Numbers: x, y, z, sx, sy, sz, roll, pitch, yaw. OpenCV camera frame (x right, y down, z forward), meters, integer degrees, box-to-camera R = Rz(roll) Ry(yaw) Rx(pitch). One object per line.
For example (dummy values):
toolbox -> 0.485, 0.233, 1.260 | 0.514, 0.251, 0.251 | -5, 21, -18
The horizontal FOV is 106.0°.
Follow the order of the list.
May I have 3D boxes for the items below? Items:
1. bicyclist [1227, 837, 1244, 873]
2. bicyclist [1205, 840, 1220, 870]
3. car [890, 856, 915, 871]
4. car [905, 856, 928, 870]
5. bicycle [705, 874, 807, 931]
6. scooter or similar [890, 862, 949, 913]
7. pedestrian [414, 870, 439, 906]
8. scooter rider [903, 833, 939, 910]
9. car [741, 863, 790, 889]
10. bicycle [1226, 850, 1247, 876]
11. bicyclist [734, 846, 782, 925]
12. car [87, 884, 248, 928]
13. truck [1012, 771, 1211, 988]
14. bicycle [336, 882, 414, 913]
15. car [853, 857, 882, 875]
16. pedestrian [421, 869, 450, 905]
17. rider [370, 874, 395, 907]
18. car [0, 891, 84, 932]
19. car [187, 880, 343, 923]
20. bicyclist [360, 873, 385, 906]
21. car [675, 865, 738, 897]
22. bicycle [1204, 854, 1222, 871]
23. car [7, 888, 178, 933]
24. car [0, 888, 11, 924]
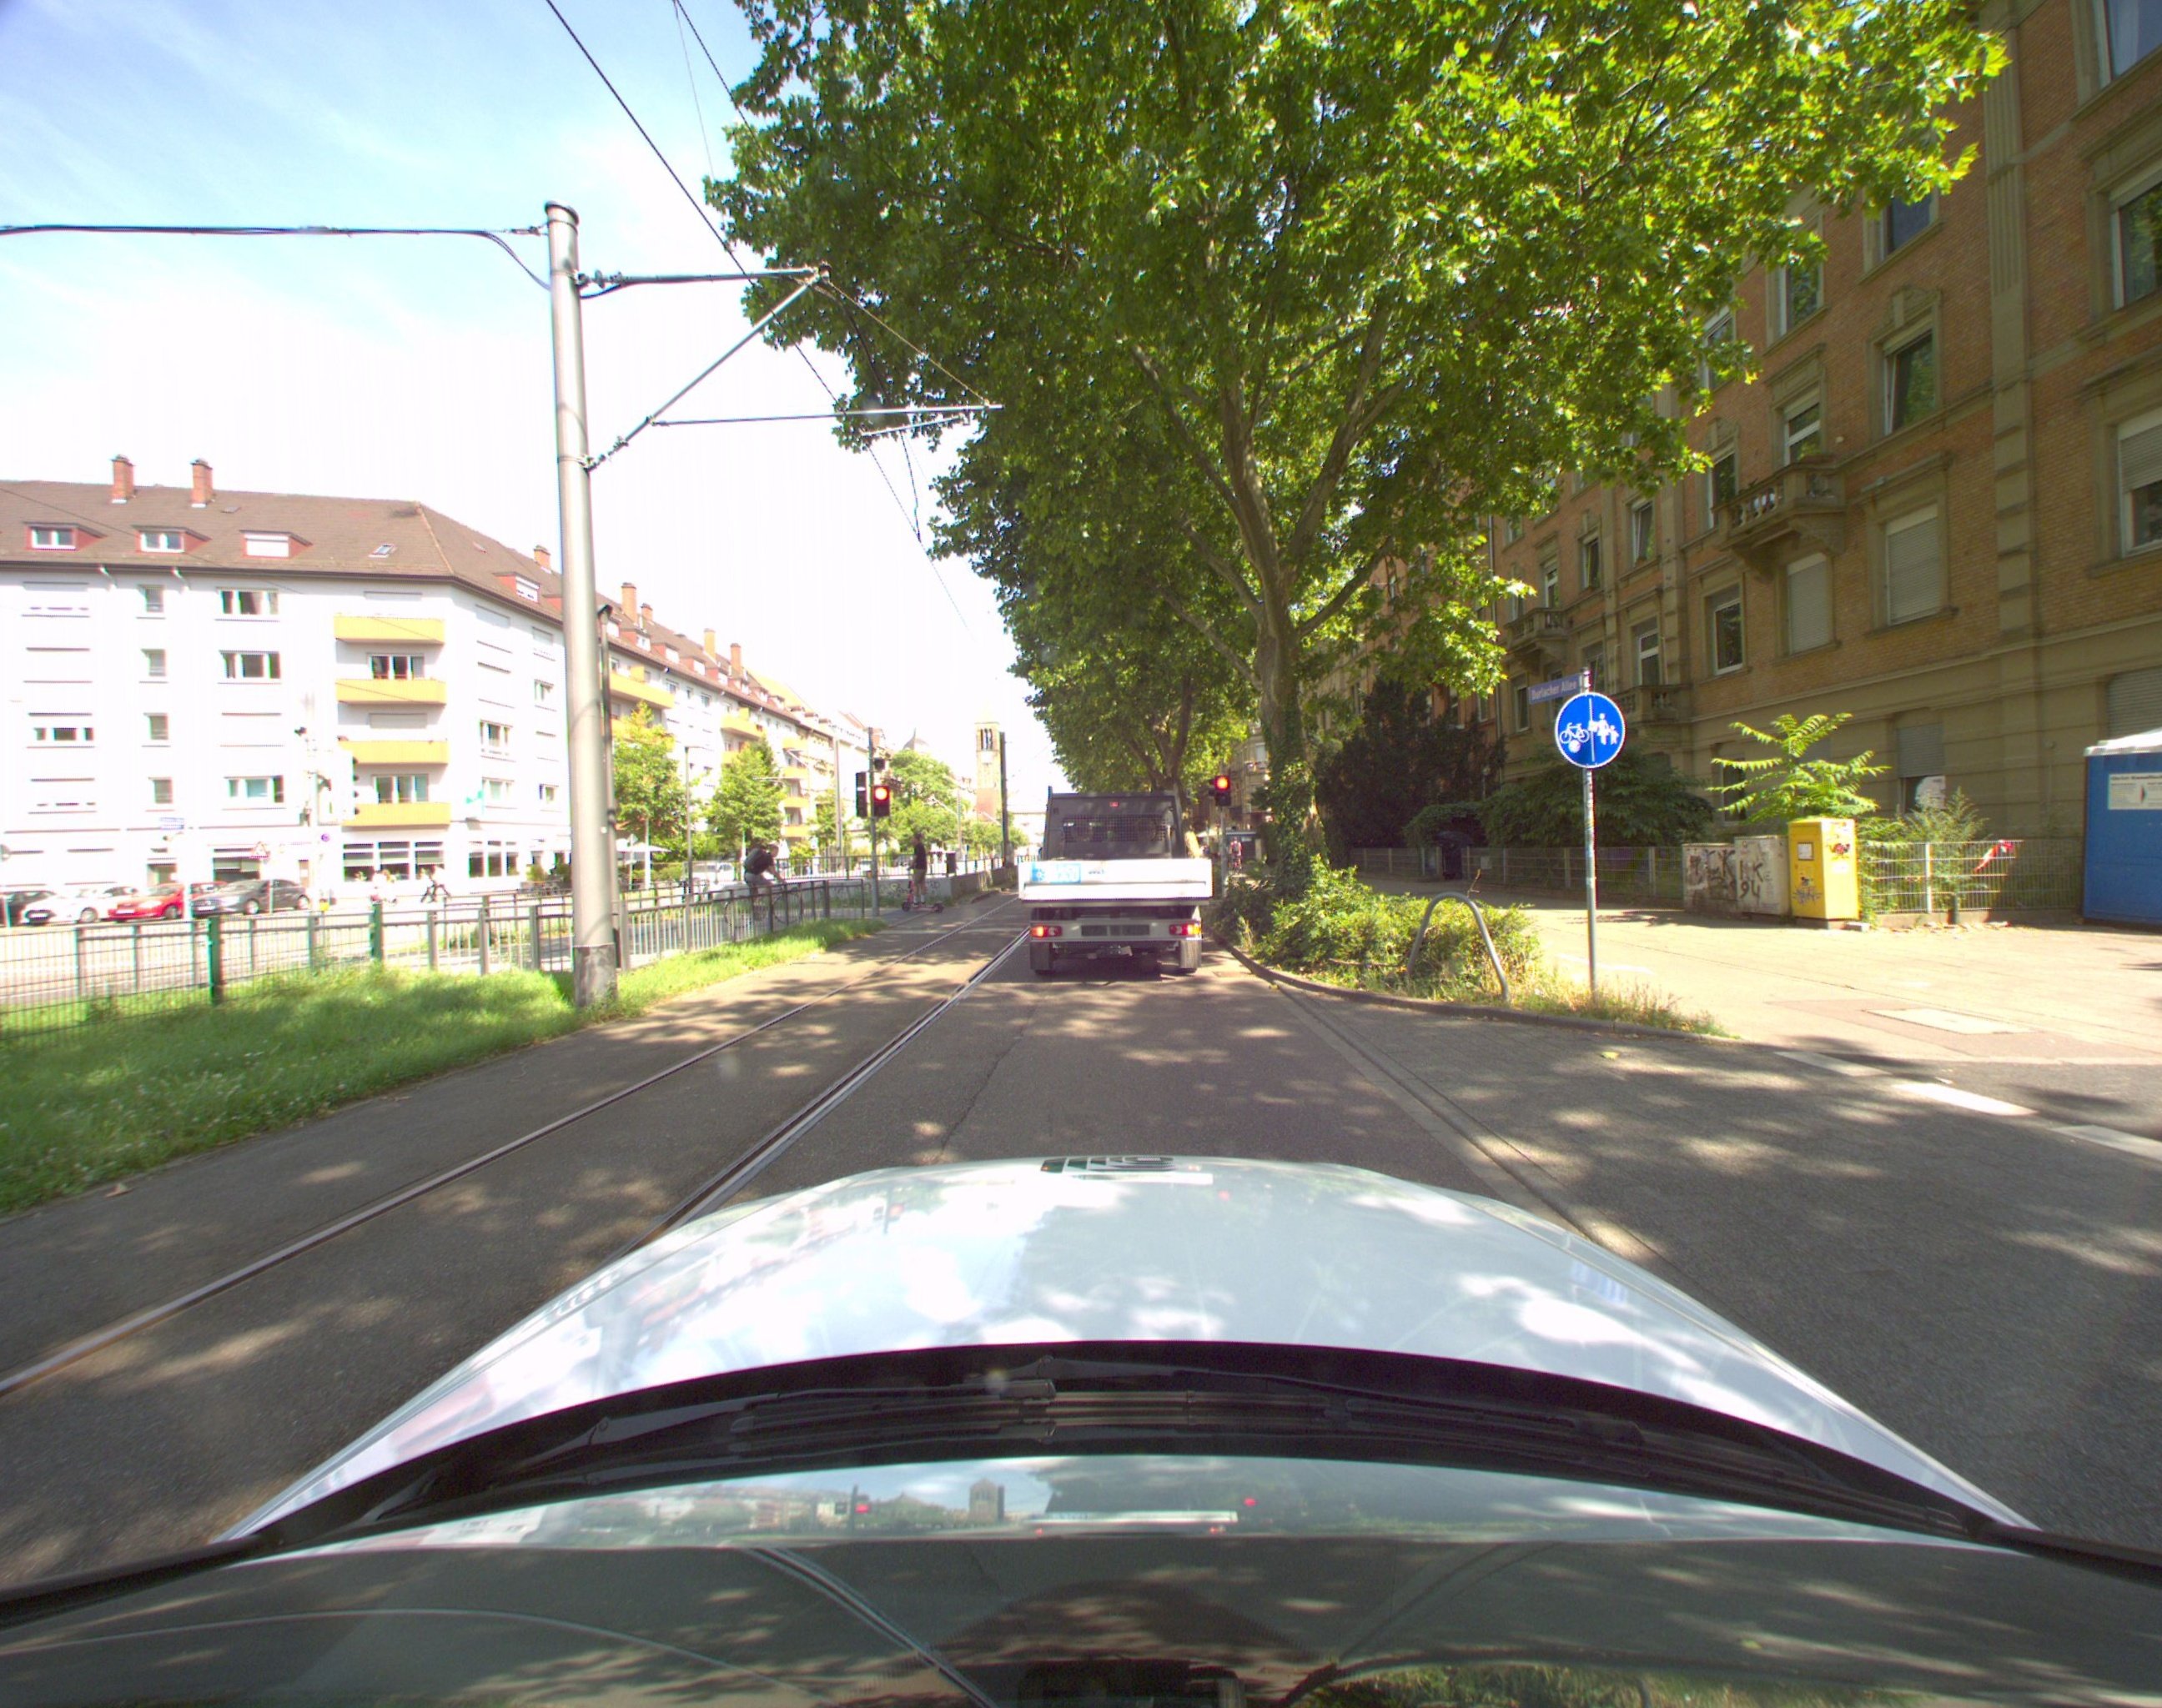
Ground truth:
bicyclist -> 6.929, 0.036, 36.523 | 0.635, 1.573, 0.580 | -2, 0, 3
bicyclist -> 6.952, 0.039, 43.036 | 0.678, 1.563, 0.777 | -2, 0, 2
car -> -19.303, 1.031, 88.305 | 1.764, 1.498, 4.000 | -2, 0, 0
car -> -19.376, 1.002, 96.144 | 1.764, 1.498, 4.000 | -2, 0, 0
bicycle -> -6.809, 0.996, 17.149 | 0.526, 1.049, 1.938 | -2, 0, 42
scooter or similar -> -4.043, 0.841, 20.433 | 1.260, 1.204, 0.658 | -2, 0, 4
pedestrian -> -29.485, 1.532, 36.687 | 0.690, 1.572, 0.542 | -2, 0, -22
scooter rider -> -4.011, 0.433, 20.428 | 0.663, 1.867, 0.665 | -2, 0, 5
car -> -20.521, 1.402, 53.125 | 1.767, 1.498, 3.994 | -4, 0, -4
bicycle -> 6.944, 0.371, 36.469 | 0.563, 1.112, 2.312 | -2, 0, 3
bicyclist -> -6.805, 0.648, 17.162 | 0.616, 1.623, 0.699 | -2, 0, 42
car -> -36.467, 2.013, 32.690 | 1.930, 1.406, 4.158 | -2, 0, -6
truck -> 0.430, 0.262, 10.919 | 2.130, 2.319, 4.404 | 0, 0, 3
bicycle -> -30.046, 1.844, 34.732 | 0.908, 1.137, 2.807 | -2, 0, -2
car -> -19.587, 1.093, 74.933 | 1.767, 1.498, 3.994 | -2, 0, -4
pedestrian -> -29.586, 1.503, 37.332 | 0.861, 1.572, 0.685 | -2, 0, -22
rider -> -31.905, 1.661, 37.197 | 0.624, 1.423, 0.587 | -2, 0, -15
car -> -41.804, 2.270, 31.314 | 1.930, 1.406, 4.158 | -2, 0, -6
car -> -33.109, 1.888, 33.265 | 1.830, 1.376, 4.637 | -2, 0, -4
bicyclist -> -31.824, 1.601, 36.590 | 0.624, 1.423, 0.587 | -2, 0, -15
car -> -20.490, 1.425, 44.712 | 1.767, 1.498, 3.994 | -4, 0, -4
bicycle -> 6.974, 0.437, 43.198 | 0.672, 0.881, 2.165 | -2, 0, 3
car -> -39.251, 2.195, 32.520 | 1.930, 1.406, 4.158 | -2, 0, -6
car -> -44.583, 2.152, 31.160 | 1.930, 1.406, 4.158 | -2, 0, -6
